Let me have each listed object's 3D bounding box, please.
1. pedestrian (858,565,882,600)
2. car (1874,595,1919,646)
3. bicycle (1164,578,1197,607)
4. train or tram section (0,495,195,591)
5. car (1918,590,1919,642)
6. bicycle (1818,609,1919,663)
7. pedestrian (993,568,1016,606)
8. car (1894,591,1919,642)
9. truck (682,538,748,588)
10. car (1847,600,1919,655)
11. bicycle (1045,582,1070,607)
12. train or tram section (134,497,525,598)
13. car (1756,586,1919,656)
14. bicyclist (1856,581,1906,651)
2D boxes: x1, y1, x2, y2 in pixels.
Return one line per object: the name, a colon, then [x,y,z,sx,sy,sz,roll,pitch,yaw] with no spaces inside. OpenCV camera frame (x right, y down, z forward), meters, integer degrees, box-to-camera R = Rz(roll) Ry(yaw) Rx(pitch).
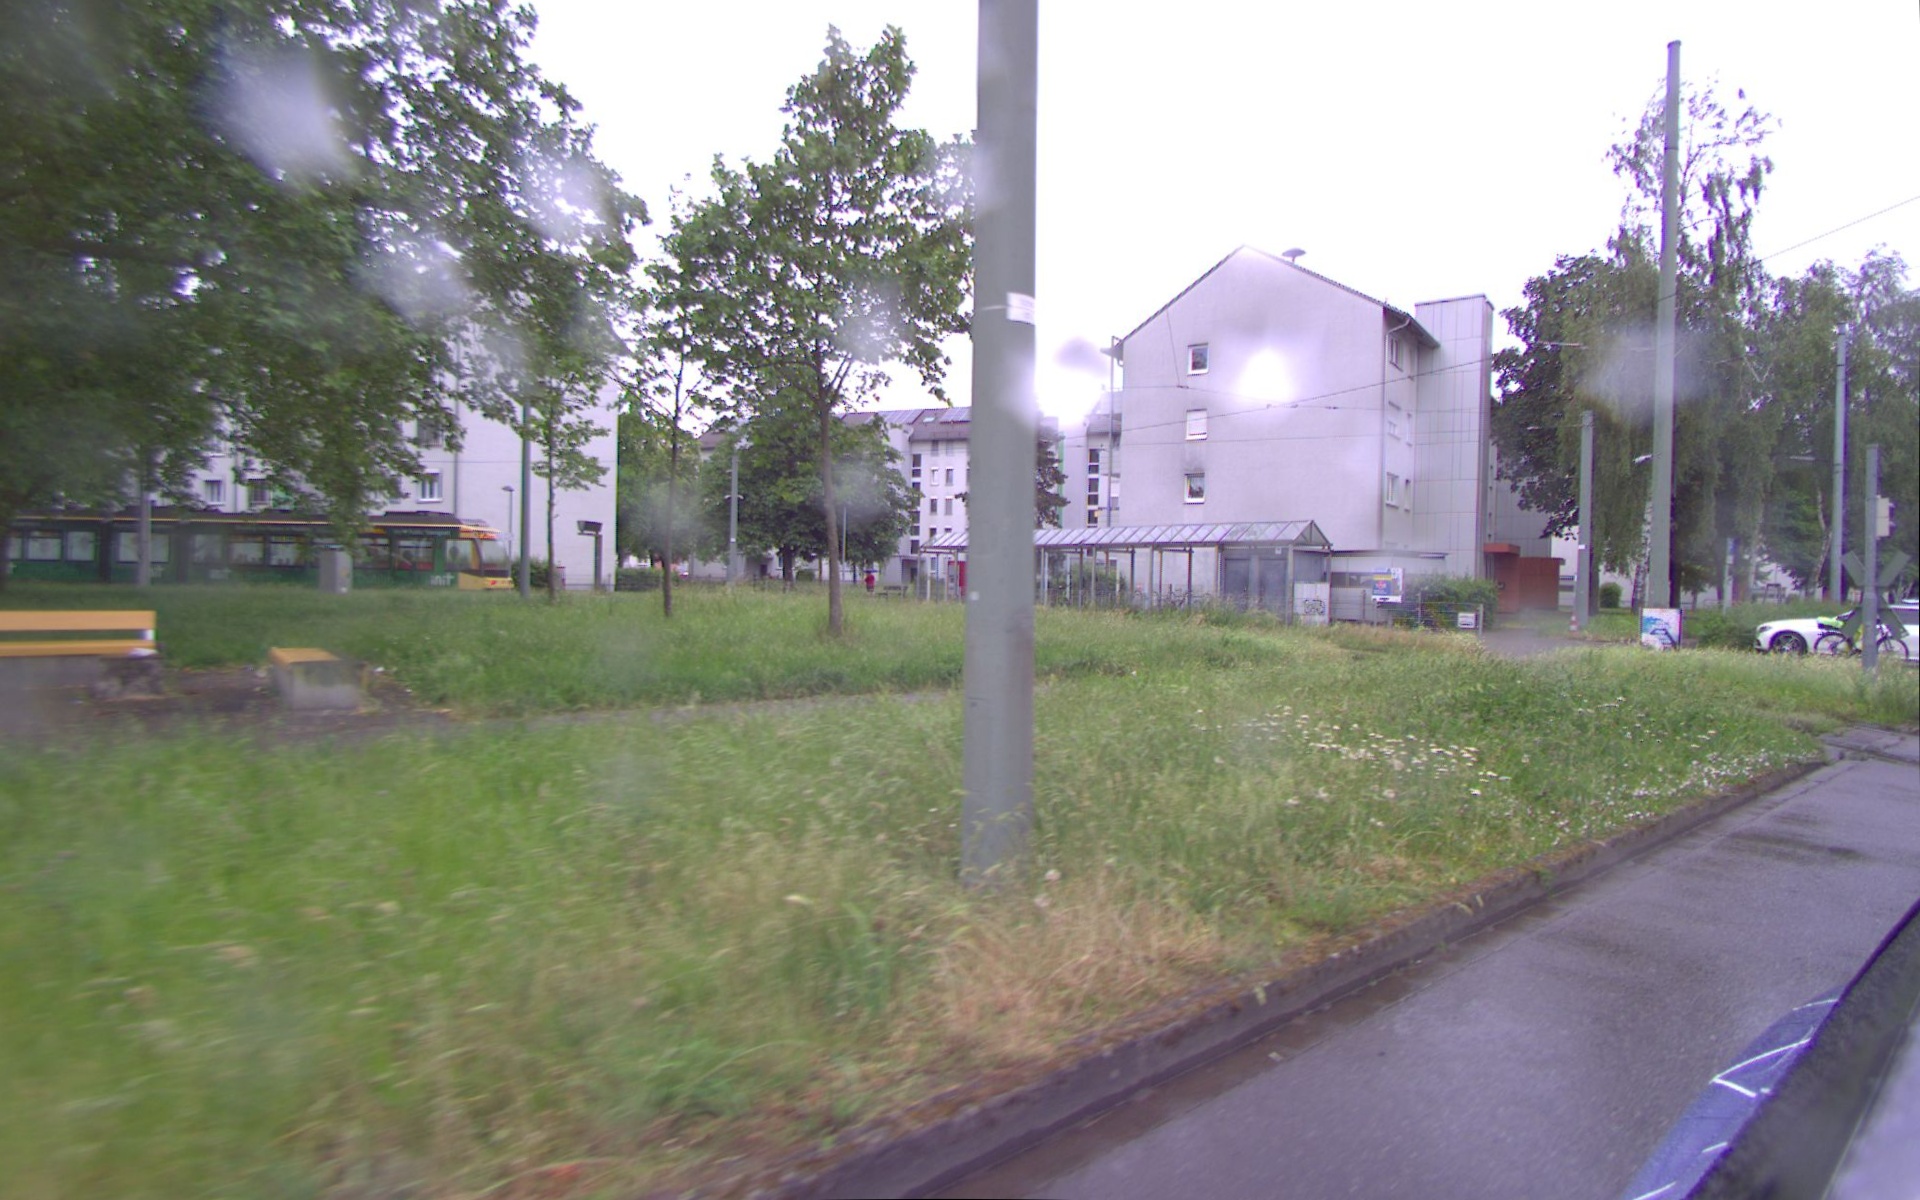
pedestrian: [-4.962,-0.960,55.638,1.165,1.907,1.056,0,-1,-11]
car: [31.303,0.649,31.522,1.691,1.606,3.997,0,0,-38]
bicycle: [7.601,-0.256,34.866,1.214,0.968,0.377,0,-1,-36]
train or tram section: [-39.111,-2.338,41.436,14.481,3.635,2.710,1,0,6]
car: [40.660,0.624,39.637,1.693,2.088,4.436,0,0,-42]
bicycle: [20.477,0.792,22.728,1.741,1.144,0.720,1,0,33]
pedestrian: [1.905,-0.543,43.319,0.776,1.592,0.635,0,-1,-40]
car: [36.722,0.606,36.351,1.691,1.869,4.442,0,0,-38]
truck: [-18.889,-2.722,77.708,3.137,3.518,7.156,0,0,-29]
car: [27.436,0.752,28.075,1.691,1.505,3.997,0,0,-38]
bicycle: [3.876,-0.210,40.017,0.415,0.959,1.291,-1,0,35]
train or tram section: [-24.715,-2.035,39.847,14.481,3.635,2.710,1,0,6]
car: [22.597,0.531,24.509,1.963,1.476,4.841,1,3,-38]
bicyclist: [20.616,0.355,22.661,0.693,1.536,0.716,1,0,32]
